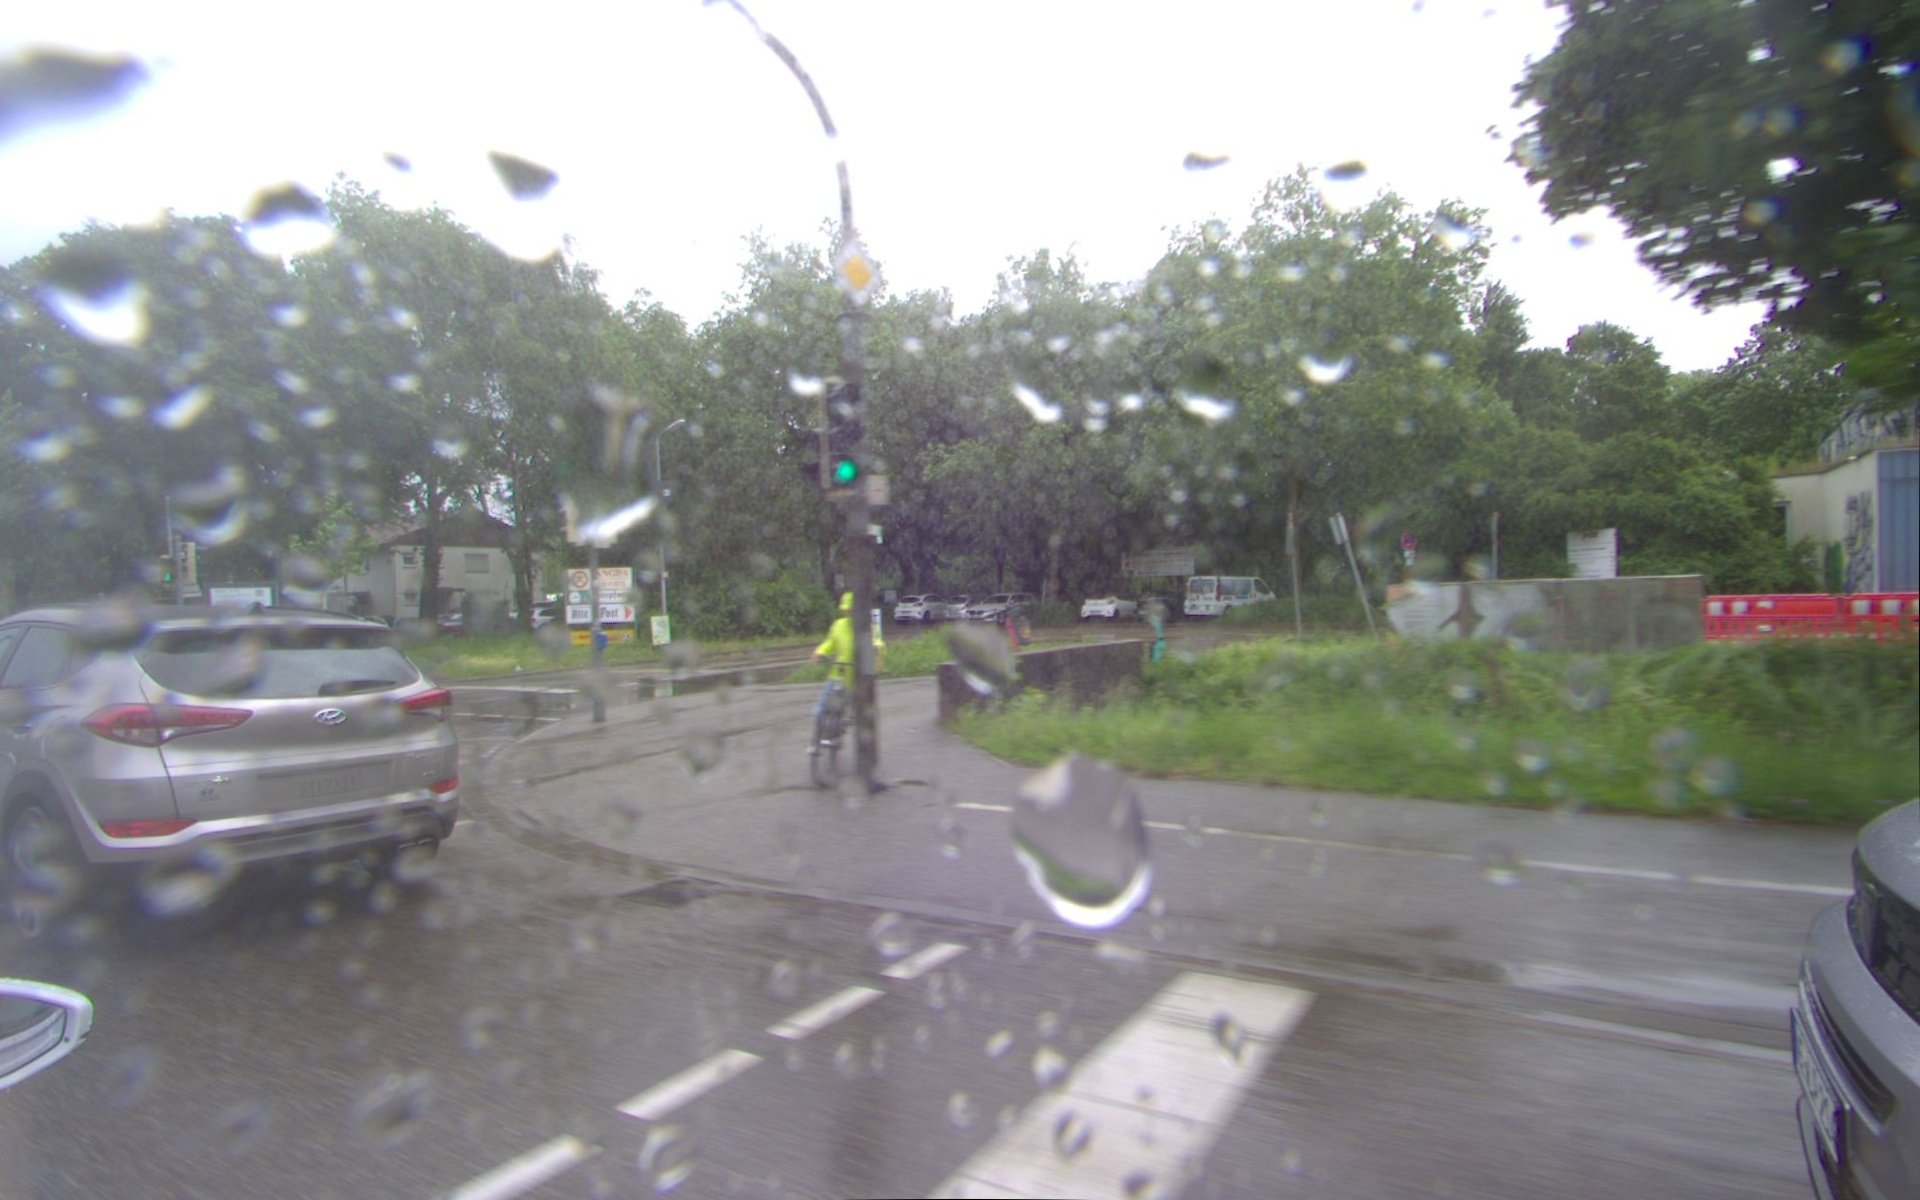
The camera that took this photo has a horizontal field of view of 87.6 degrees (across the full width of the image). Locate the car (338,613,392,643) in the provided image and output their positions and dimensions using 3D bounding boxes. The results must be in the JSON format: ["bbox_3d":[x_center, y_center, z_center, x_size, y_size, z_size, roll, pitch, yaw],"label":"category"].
[{"bbox_3d":[-30.535,1.451,51.456,1.641,1.467,3.745,-1,-2,-19],"label":"car"}]

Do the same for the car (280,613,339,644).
[{"bbox_3d":[-32.795,1.470,50.565,1.641,1.467,3.745,-1,-2,-19],"label":"car"}]

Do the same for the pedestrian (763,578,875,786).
[{"bbox_3d":[-1.209,0.686,8.733,0.774,1.701,0.669,-4,2,-1],"label":"pedestrian"}]

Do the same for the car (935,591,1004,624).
[{"bbox_3d":[0.564,0.439,51.754,1.894,1.603,4.589,-2,-2,24],"label":"car"}]

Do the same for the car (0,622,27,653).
[{"bbox_3d":[-58.024,2.291,59.892,4.573,1.740,1.990,-2,1,30],"label":"car"}]

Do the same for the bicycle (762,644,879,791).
[{"bbox_3d":[-1.194,0.990,8.929,0.774,1.052,1.664,-4,1,-1],"label":"bicycle"}]

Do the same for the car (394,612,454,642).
[{"bbox_3d":[-27.666,1.400,51.788,1.638,1.467,3.751,-1,-2,-10],"label":"car"}]

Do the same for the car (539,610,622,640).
[{"bbox_3d":[-19.288,1.260,51.038,1.647,1.467,3.702,-2,-2,33],"label":"car"}]

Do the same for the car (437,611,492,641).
[{"bbox_3d":[-25.883,1.381,52.378,1.573,1.467,3.751,-1,-2,-10],"label":"car"}]

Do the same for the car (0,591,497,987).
[{"bbox_3d":[-4.892,0.840,6.063,4.136,1.631,1.881,-1,-2,33],"label":"car"}]

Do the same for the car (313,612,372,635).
[{"bbox_3d":[-38.300,1.478,62.115,3.647,1.332,1.570,-2,-2,29],"label":"car"}]

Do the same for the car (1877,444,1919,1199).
[{"bbox_3d":[3.799,0.473,0.565,4.498,1.819,1.990,-2,-1,32],"label":"car"}]

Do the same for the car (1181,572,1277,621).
[{"bbox_3d":[11.794,-0.112,43.826,4.144,1.989,1.912,0,-2,-37],"label":"car"}]

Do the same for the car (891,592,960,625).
[{"bbox_3d":[-1.774,0.491,53.200,1.894,1.603,4.589,-2,-2,24],"label":"car"}]

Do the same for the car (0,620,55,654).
[{"bbox_3d":[-53.522,2.106,56.691,4.807,1.740,1.990,-2,1,30],"label":"car"}]

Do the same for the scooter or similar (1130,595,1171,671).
[{"bbox_3d":[3.074,0.527,16.163,0.553,1.192,0.284,-1,1,39],"label":"scooter or similar"}]

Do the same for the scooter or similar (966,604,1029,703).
[{"bbox_3d":[0.509,0.692,13.288,0.318,1.246,0.954,-1,1,37],"label":"scooter or similar"}]

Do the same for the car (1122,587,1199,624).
[{"bbox_3d":[9.057,0.283,45.059,1.900,1.508,4.170,-2,-2,34],"label":"car"}]

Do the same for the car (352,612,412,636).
[{"bbox_3d":[-37.149,1.545,64.384,3.941,1.403,1.582,-2,-2,30],"label":"car"}]

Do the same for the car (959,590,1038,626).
[{"bbox_3d":[1.965,0.412,49.509,1.899,1.651,4.578,-2,-2,32],"label":"car"}]

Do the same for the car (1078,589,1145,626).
[{"bbox_3d":[7.144,0.377,46.950,1.697,1.617,3.648,-2,-2,34],"label":"car"}]
